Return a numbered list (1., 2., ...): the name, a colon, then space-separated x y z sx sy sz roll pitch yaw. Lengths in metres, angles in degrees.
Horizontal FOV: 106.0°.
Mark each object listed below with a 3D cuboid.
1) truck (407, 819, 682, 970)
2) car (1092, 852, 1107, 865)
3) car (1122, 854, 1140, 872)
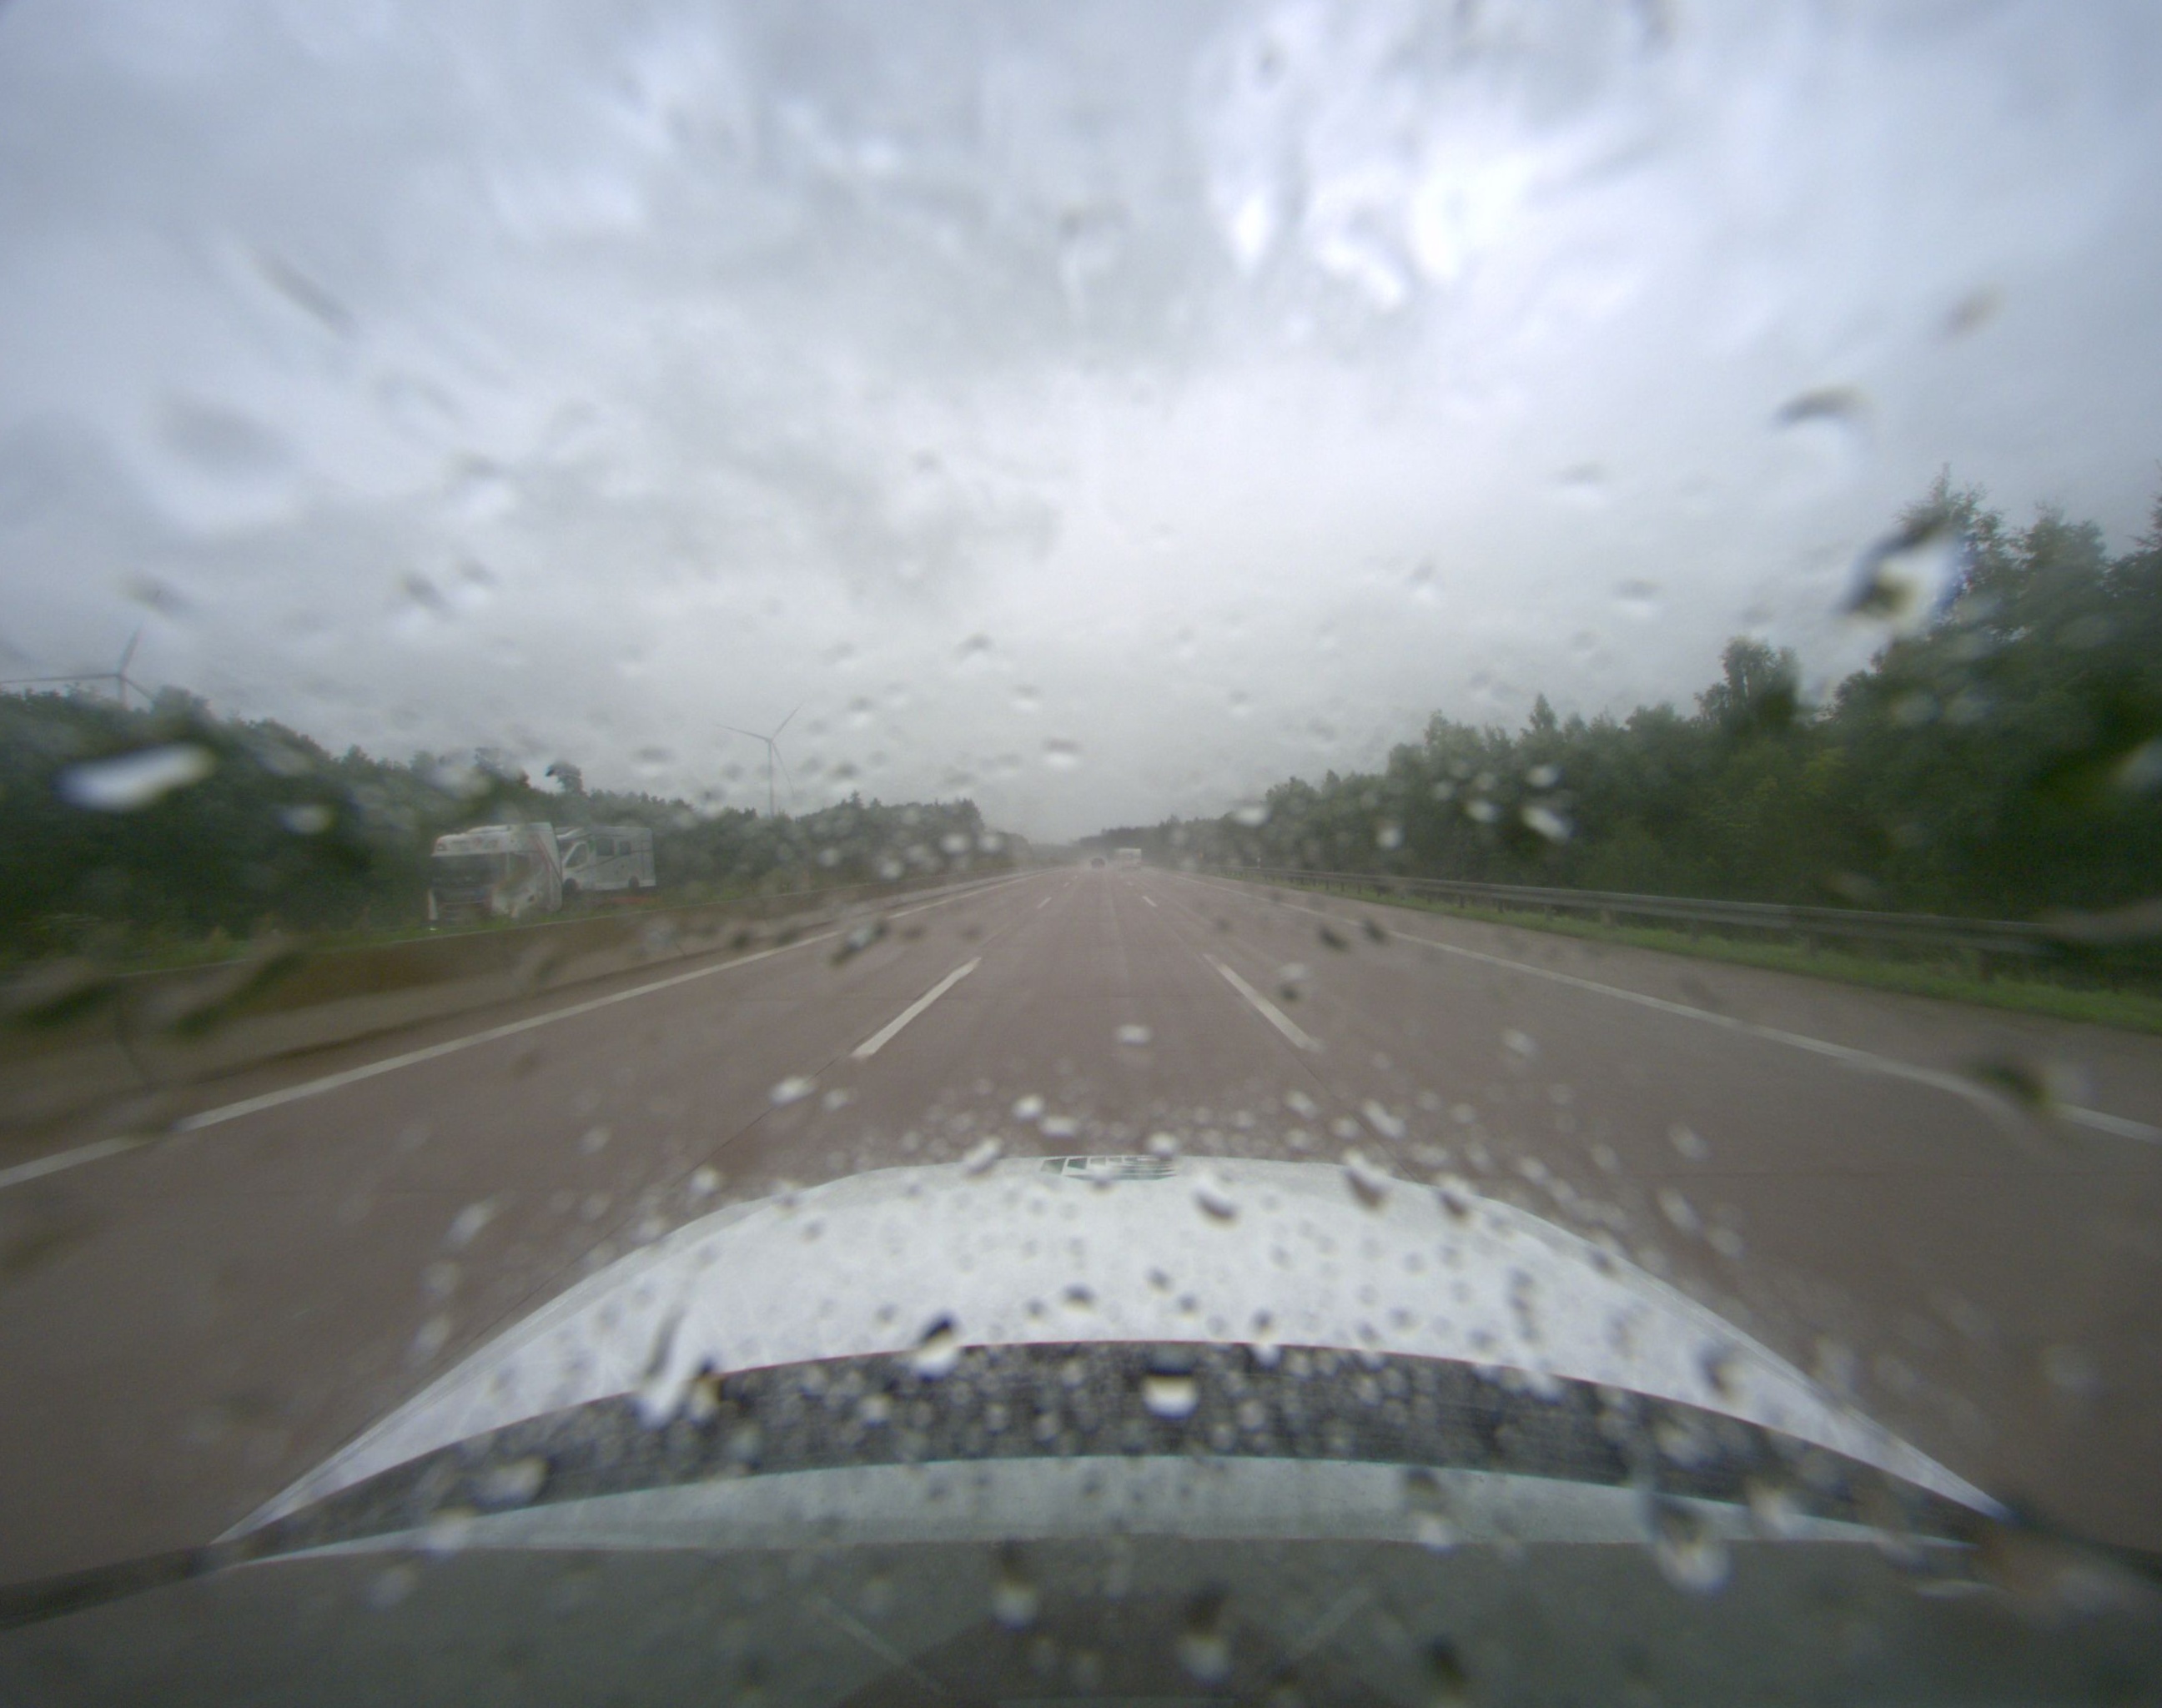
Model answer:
1. truck: -18.354 1.204 29.056 3.133 4.472 9.563 -1 0 2
2. car: 2.577 0.642 114.134 1.929 1.729 4.132 -1 0 2
3. car: 5.853 1.075 96.054 2.050 2.000 4.101 -1 0 2
